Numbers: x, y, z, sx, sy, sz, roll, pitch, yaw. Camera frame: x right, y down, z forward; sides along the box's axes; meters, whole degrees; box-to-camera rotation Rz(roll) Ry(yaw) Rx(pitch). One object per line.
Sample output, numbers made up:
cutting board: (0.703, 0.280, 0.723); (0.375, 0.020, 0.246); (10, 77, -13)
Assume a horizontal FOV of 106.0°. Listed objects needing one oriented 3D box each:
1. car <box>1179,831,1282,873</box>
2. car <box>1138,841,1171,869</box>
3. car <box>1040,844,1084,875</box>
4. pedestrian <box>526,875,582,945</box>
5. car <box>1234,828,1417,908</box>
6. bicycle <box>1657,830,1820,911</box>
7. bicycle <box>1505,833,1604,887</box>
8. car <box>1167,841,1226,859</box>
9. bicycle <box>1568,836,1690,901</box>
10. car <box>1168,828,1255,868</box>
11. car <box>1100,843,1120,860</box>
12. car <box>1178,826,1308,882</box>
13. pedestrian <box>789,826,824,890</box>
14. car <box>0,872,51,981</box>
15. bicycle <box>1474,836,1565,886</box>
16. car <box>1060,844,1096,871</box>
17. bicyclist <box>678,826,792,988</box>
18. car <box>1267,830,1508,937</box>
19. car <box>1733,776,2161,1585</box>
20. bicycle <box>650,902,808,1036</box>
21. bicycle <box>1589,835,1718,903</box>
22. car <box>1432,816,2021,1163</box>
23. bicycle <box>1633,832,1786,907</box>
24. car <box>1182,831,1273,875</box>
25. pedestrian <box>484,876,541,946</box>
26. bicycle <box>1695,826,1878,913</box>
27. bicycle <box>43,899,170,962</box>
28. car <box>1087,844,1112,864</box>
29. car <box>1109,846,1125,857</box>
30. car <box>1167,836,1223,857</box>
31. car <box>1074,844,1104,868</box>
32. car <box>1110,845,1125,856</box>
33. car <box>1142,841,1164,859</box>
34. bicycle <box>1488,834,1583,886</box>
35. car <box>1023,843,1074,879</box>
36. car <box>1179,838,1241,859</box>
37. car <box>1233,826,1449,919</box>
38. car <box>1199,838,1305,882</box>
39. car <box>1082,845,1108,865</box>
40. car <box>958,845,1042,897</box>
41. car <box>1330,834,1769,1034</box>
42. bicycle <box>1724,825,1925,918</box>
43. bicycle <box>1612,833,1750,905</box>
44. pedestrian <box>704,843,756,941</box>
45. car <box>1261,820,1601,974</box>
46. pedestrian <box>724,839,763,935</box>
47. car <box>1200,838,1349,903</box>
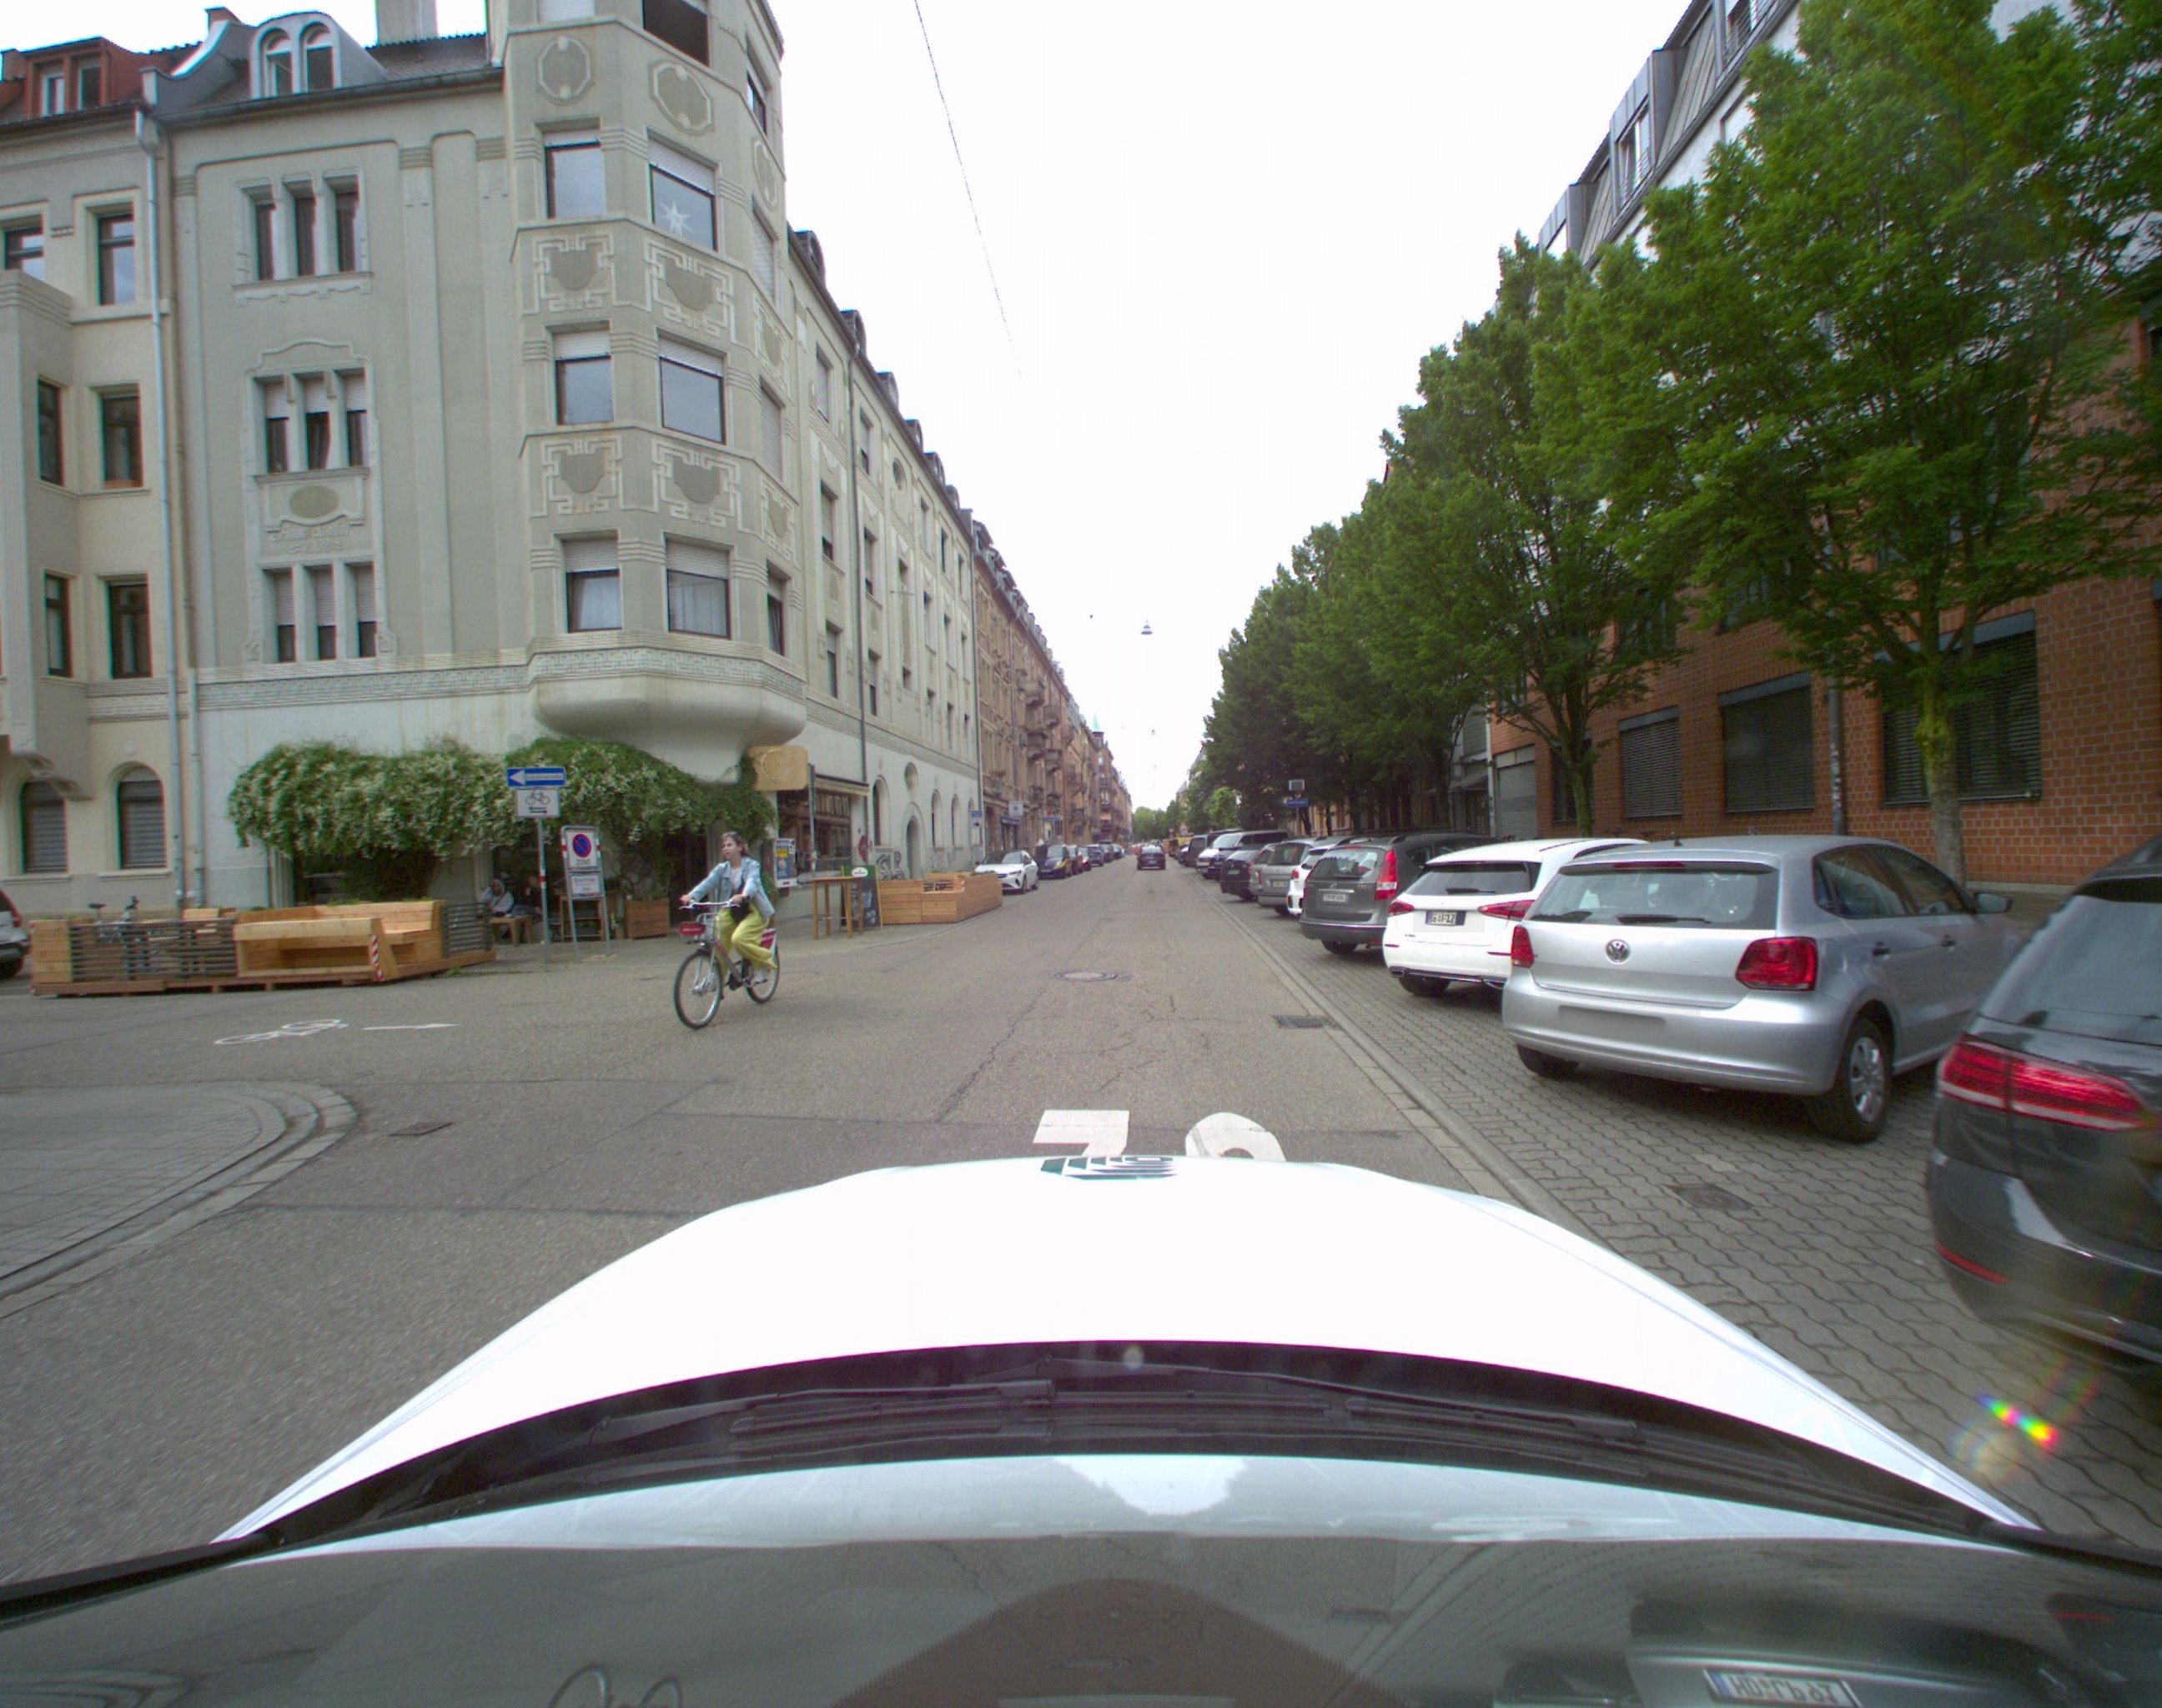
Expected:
car: (8.097, -0.121, 43.893); (5.420, 1.992, 1.932); (-3, 0, -29)
car: (4.647, 0.082, 52.151); (1.985, 1.681, 4.004); (-2, -1, 4)
car: (-0.980, 0.273, 44.857); (1.935, 1.617, 3.948); (-1, 0, 5)
pedestrian: (-9.421, 0.989, 14.577); (0.575, 1.197, 0.555); (-2, 1, 5)
car: (5.819, 0.296, 19.298); (4.072, 1.585, 1.754); (-3, 0, -29)
bicycle: (9.471, 0.234, 11.770); (1.827, 1.092, 0.543); (-2, -1, 4)
bicycle: (10.101, 0.124, 17.414); (1.744, 1.092, 0.566); (-2, -1, 4)
car: (11.153, -0.351, 78.569); (5.413, 1.553, 1.934); (-2, 0, -25)
bicycle: (9.780, 0.265, 14.572); (1.744, 1.092, 0.566); (-2, -1, 4)
car: (8.831, -0.409, 55.070); (5.399, 2.373, 1.939); (-3, 0, -17)
car: (3.237, -0.272, 90.426); (1.935, 1.738, 3.948); (-2, 0, 5)
car: (7.158, -0.029, 35.833); (5.642, 2.127, 1.932); (-3, 0, -29)
pedestrian: (-7.001, 0.093, 20.784); (0.747, 1.593, 0.613); (-1, -1, -26)
car: (-19.480, 1.310, 12.980); (3.802, 1.716, 1.769); (-3, 3, 3)
bicycle: (10.124, 0.159, 18.824); (1.744, 1.092, 0.566); (-2, -1, 4)
car: (-0.132, 0.195, 51.707); (1.935, 1.617, 3.947); (-1, 0, 4)
bicyclist: (-3.165, 0.464, 7.503); (0.665, 1.399, 0.784); (-2, -1, 2)
car: (5.318, 0.433, 14.001); (4.074, 1.486, 1.665); (-3, 0, -31)
car: (4.108, 0.512, 2.393); (4.299, 1.578, 1.846); (-4, 0, -29)
bicycle: (-3.158, 0.981, 7.507); (0.533, 0.977, 1.867); (-2, -1, 3)
bicycle: (9.783, 0.257, 13.964); (1.744, 1.092, 0.566); (-2, -1, 4)
car: (4.223, 0.554, 5.268); (3.578, 1.498, 1.827); (-2, 1, -31)
bicycle: (9.658, 0.239, 12.554); (1.827, 1.092, 0.566); (-2, -1, 4)
car: (7.176, -0.066, 39.915); (3.996, 2.013, 1.741); (-2, 0, -17)
pedestrian: (-10.208, 1.012, 14.636); (0.575, 1.197, 0.555); (-2, 1, 5)
bicycle: (9.456, 0.208, 10.959); (1.886, 1.092, 0.543); (-2, -1, 4)
bicycle: (-18.491, 1.446, 15.468); (1.732, 1.097, 0.727); (-2, 0, 9)
car: (1.681, -0.032, 72.863); (1.935, 1.741, 3.948); (-1, 0, 5)
car: (4.649, -0.271, 105.317); (1.986, 1.321, 4.001); (-2, -1, 2)
car: (11.674, -0.785, 83.543); (5.413, 1.868, 1.934); (-3, 0, -25)
car: (0.622, 0.113, 60.760); (1.935, 1.617, 3.947); (-2, 0, 4)
car: (5.066, -0.452, 113.195); (1.986, 1.499, 4.001); (-2, -1, 2)
car: (7.070, -0.370, 80.434); (1.985, 1.681, 4.004); (-2, -1, 4)
bicycle: (10.107, 0.133, 18.130); (1.744, 1.092, 0.566); (-2, -1, 4)
car: (-1.522, 0.316, 39.402); (1.935, 1.617, 3.948); (-1, 0, 5)
car: (11.664, -0.486, 73.588); (5.413, 1.553, 1.934); (-3, 0, -25)
car: (5.328, 0.331, 16.657); (4.068, 1.585, 1.756); (-3, 0, -26)
car: (6.798, 0.239, 32.320); (3.875, 1.505, 1.754); (-3, 0, -29)
car: (1.174, 0.068, 67.053); (1.935, 1.617, 3.947); (-1, 0, 4)
car: (-2.649, 0.516, 27.685); (1.933, 1.553, 3.825); (-3, 0, 8)
car: (4.617, 0.596, 7.997); (3.994, 1.543, 1.859); (0, 0, -26)
bicycle: (9.409, 0.223, 10.354); (1.924, 1.092, 0.577); (-2, -1, 4)
bicycle: (9.680, 0.248, 13.185); (1.744, 1.092, 0.566); (-2, -1, 4)
pedestrian: (-6.164, 0.658, 14.306); (0.573, 1.660, 0.579); (-2, -1, 26)
car: (4.626, 0.453, 10.733); (4.069, 1.585, 1.887); (-3, 0, -26)
pedestrian: (-6.274, 0.603, 15.136); (0.582, 1.734, 0.501); (-1, -1, -31)
car: (5.287, 0.411, 22.093); (3.880, 1.505, 1.752); (-3, 0, -35)
